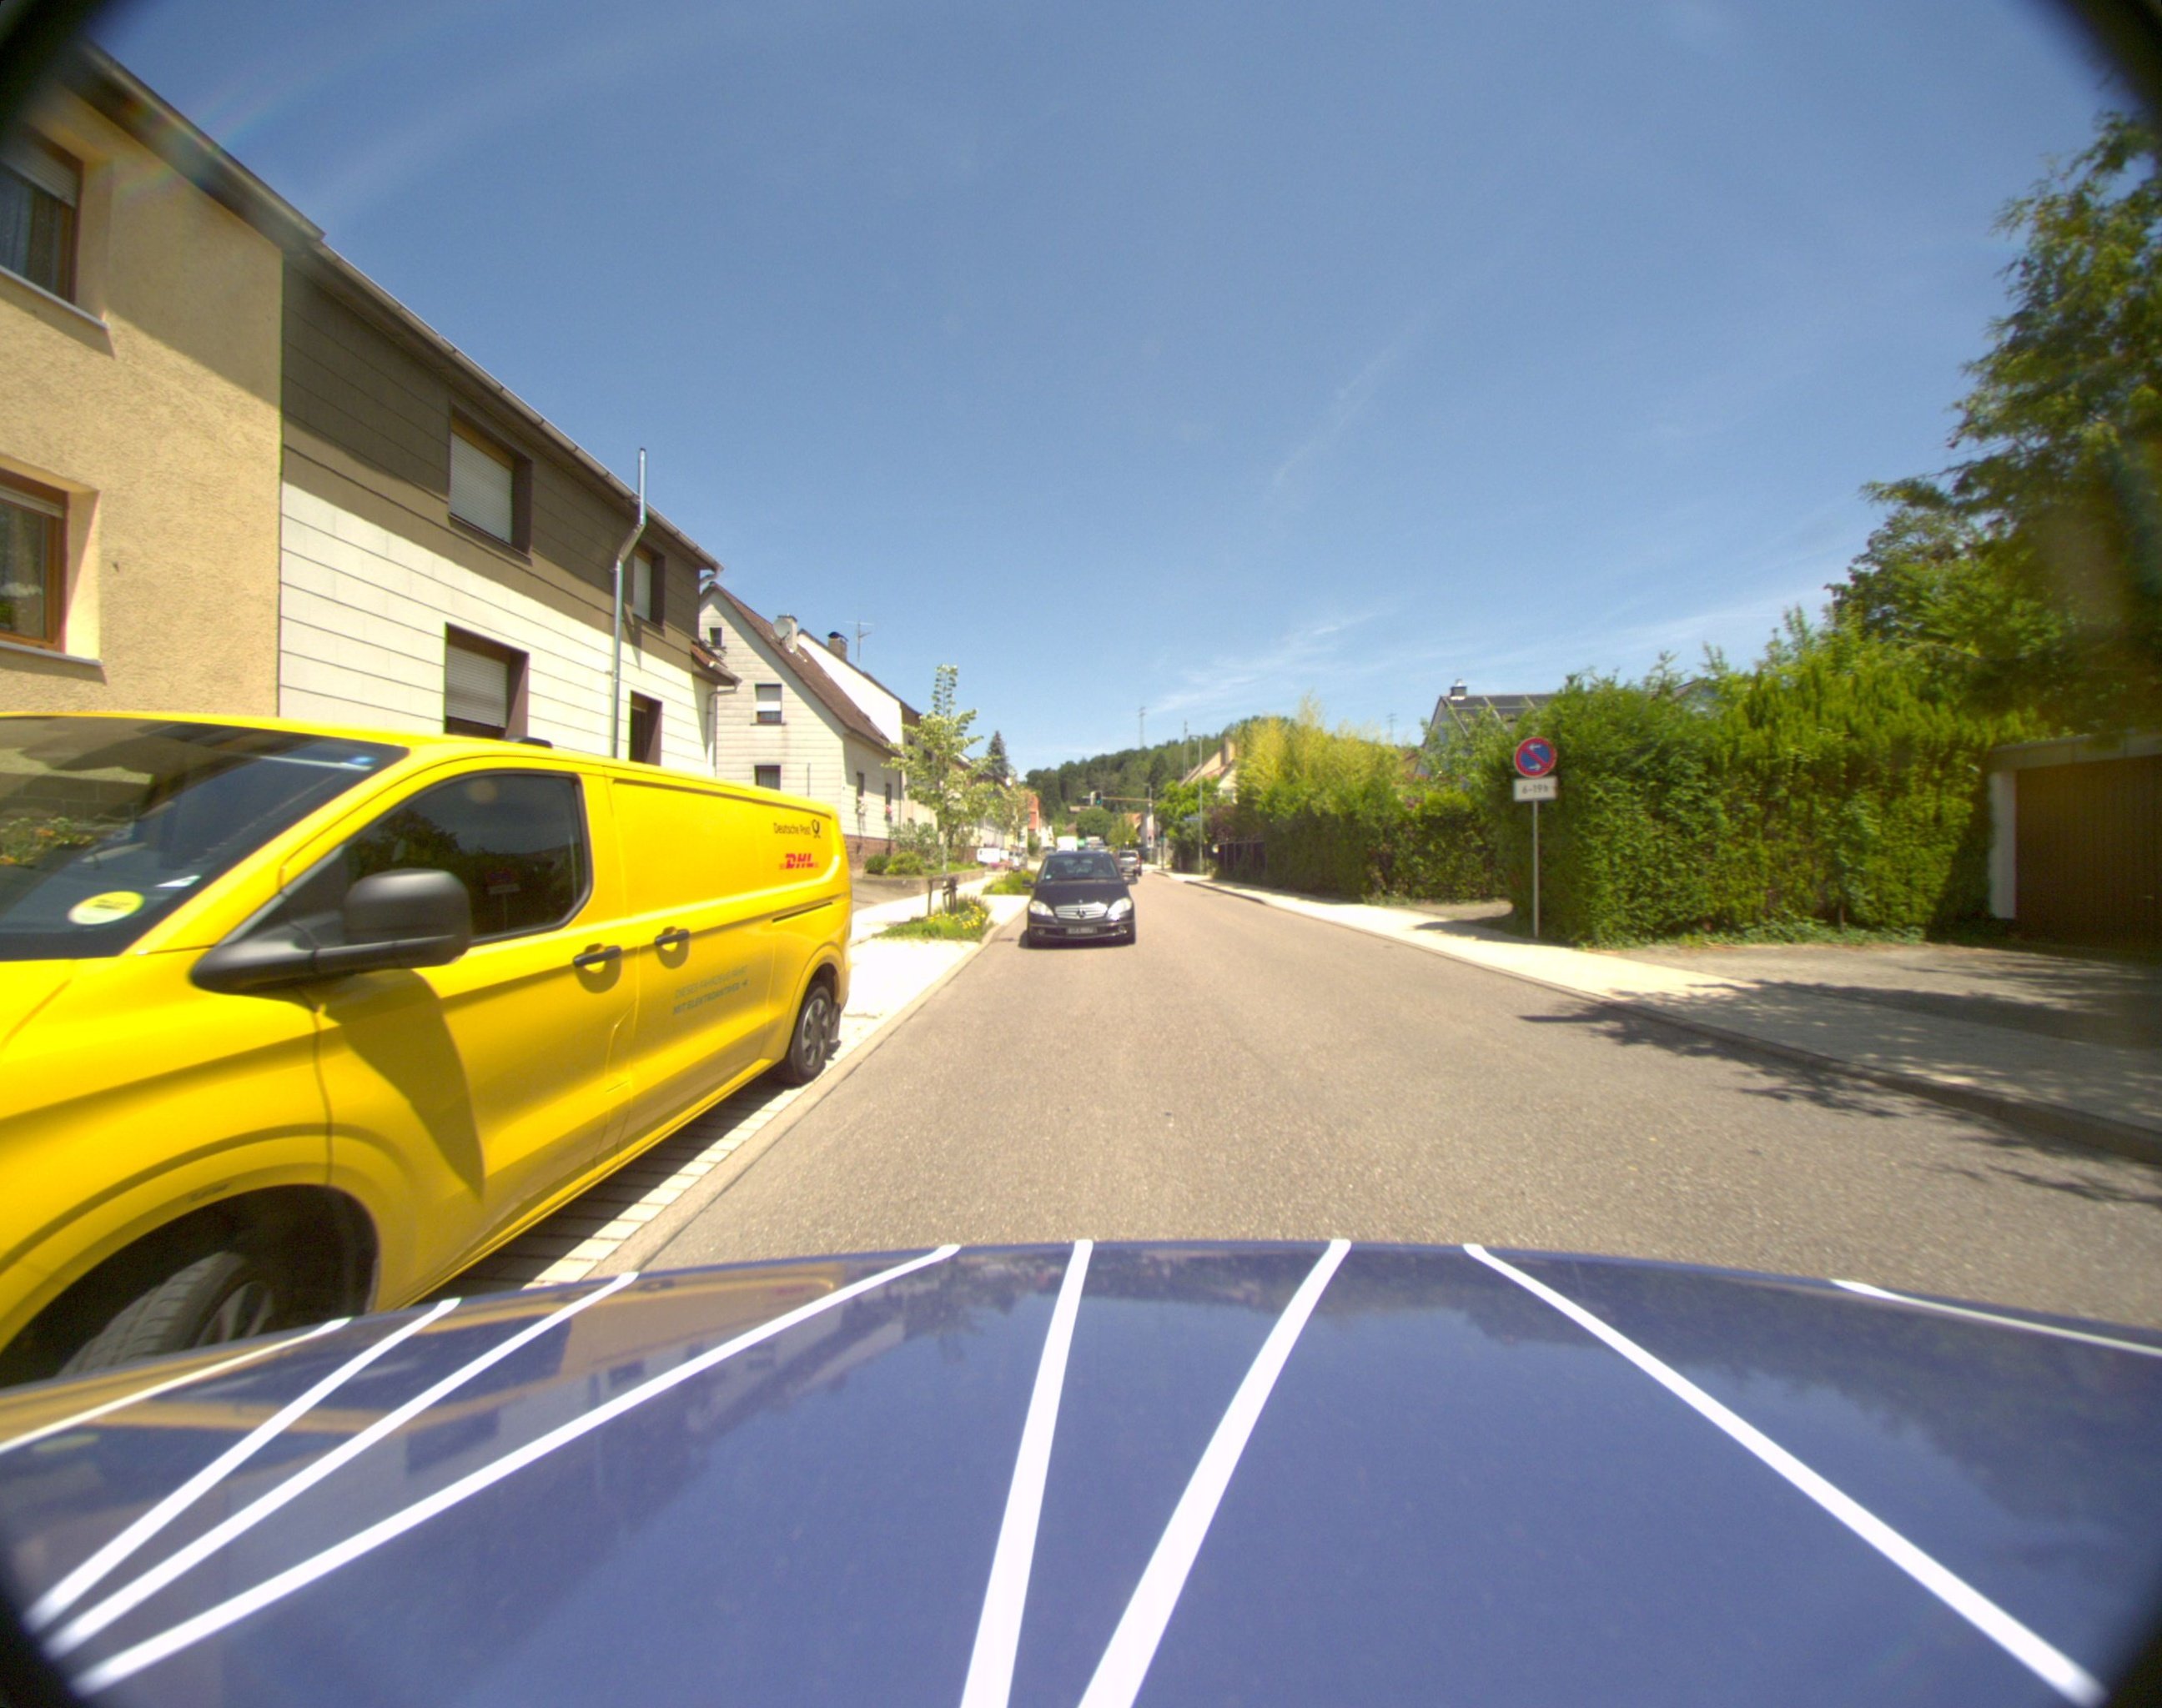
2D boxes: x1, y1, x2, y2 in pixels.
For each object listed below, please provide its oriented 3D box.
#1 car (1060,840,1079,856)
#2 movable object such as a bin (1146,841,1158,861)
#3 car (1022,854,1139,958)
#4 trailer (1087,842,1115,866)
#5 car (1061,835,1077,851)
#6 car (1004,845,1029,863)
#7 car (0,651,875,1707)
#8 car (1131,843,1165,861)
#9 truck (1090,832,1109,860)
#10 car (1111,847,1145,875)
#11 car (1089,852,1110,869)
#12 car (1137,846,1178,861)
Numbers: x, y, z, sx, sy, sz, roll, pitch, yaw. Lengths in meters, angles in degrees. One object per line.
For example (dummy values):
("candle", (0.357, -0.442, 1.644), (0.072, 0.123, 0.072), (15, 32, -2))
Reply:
("car", (-1.281, -0.696, 84.275), (1.999, 1.716, 3.999), (-2, 1, -1))
("movable object such as a bin", (7.392, -0.361, 78.999), (1.062, 2.002, 1.323), (-2, 2, 0))
("car", (0.067, 0.813, 14.326), (1.767, 1.572, 4.931), (-2, 0, 2))
("trailer", (1.778, -0.079, 69.611), (2.161, 1.975, 6.199), (-2, 1, -1))
("car", (-1.647, -1.546, 104.935), (1.986, 2.170, 3.999), (-2, 1, 2))
("car", (-6.243, -0.007, 74.465), (1.867, 1.612, 4.507), (3, 1, 2))
("car", (-2.764, 0.587, 3.237), (2.195, 2.002, 5.621), (4, 1, -1))
("car", (7.451, -0.245, 84.899), (3.606, 1.780, 1.848), (-2, 2, -1))
("truck", (2.617, -1.148, 107.580), (2.548, 3.716, 8.622), (0, 1, 2))
("car", (2.902, 0.424, 47.890), (1.872, 1.643, 3.948), (-2, 0, 0))
("car", (1.765, 0.630, 74.644), (1.771, 1.394, 4.245), (-2, 2, -1))
("car", (8.099, -0.032, 80.688), (4.040, 1.491, 1.707), (-1, 2, 39))
